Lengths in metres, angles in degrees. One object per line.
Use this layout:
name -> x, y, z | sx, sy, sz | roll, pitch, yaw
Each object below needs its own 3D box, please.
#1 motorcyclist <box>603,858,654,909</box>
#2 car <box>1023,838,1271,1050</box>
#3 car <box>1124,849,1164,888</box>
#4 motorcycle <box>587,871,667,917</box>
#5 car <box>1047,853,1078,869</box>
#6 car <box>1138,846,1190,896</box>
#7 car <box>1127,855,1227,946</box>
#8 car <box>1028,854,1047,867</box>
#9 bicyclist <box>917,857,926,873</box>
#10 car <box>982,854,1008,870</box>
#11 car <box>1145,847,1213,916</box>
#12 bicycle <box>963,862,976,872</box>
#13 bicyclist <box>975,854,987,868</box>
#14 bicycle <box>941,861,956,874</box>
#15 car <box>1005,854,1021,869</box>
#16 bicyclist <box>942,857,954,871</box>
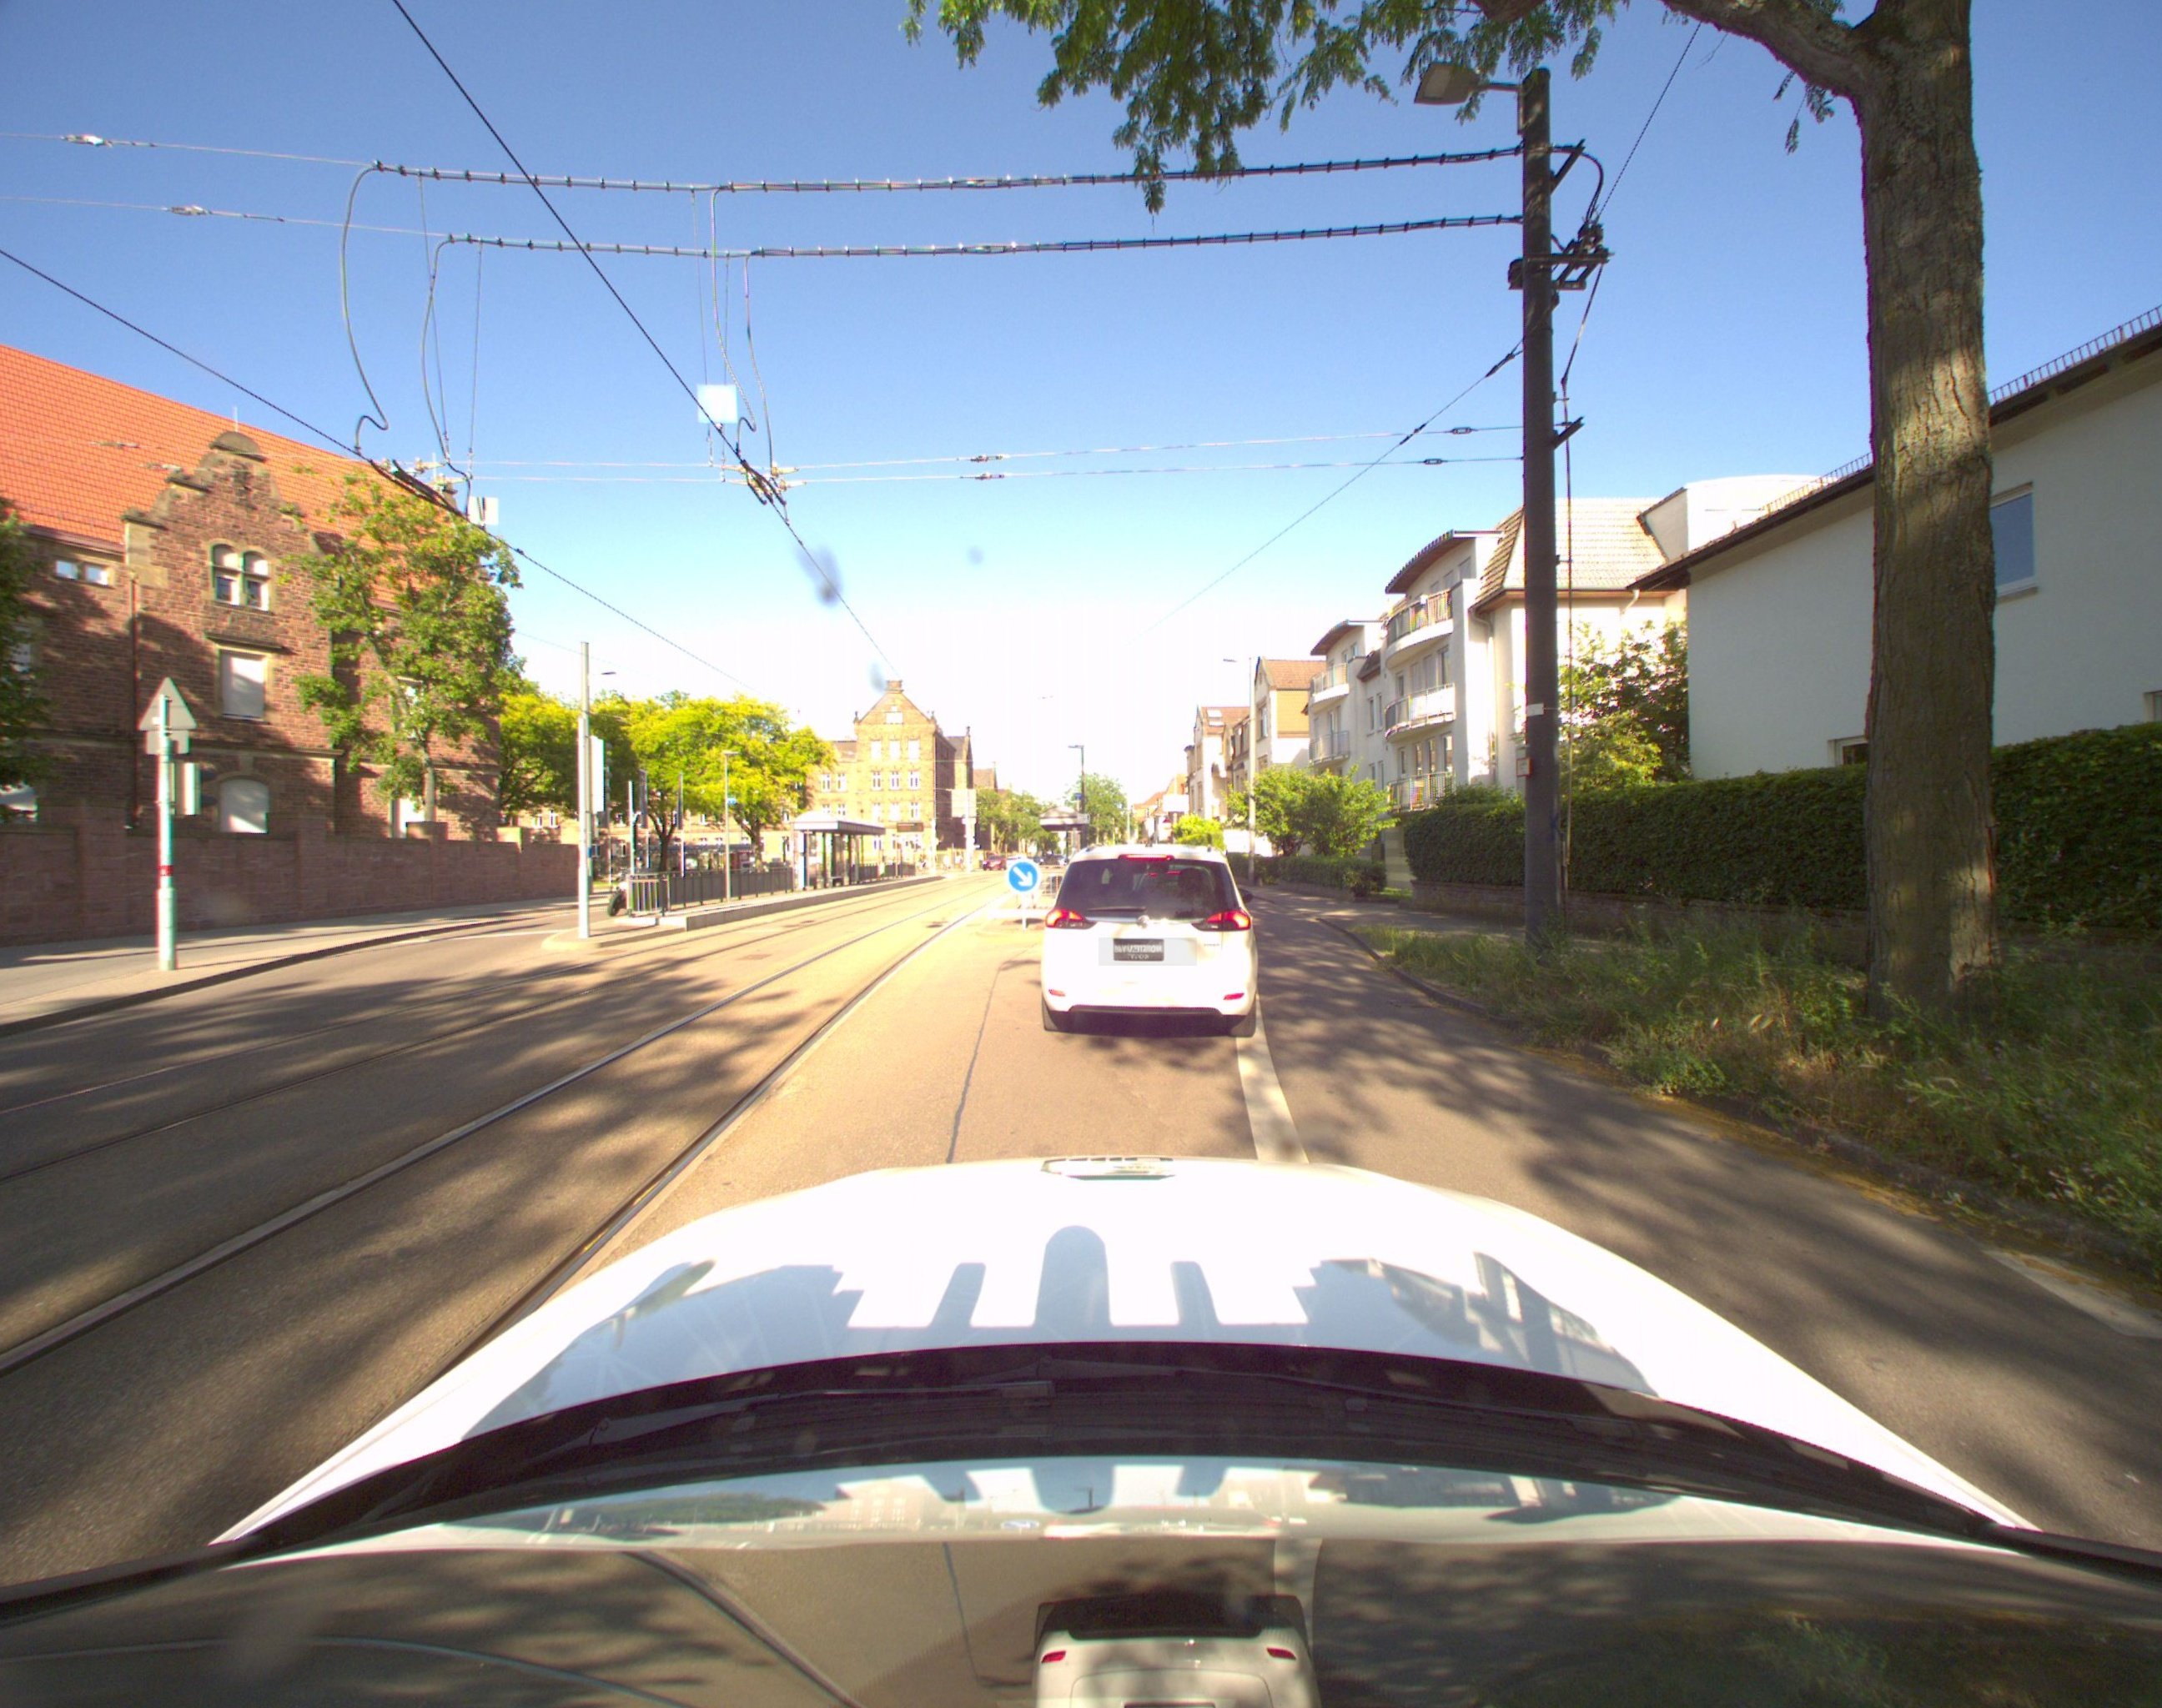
motorcyclist -> -12.558, 0.802, 22.632 | 0.887, 1.383, 0.907 | -1, 0, -2
car -> 0.749, 0.674, 8.194 | 1.868, 1.585, 4.008 | 0, 0, 7
car -> 2.779, 0.624, 36.401 | 1.590, 1.635, 3.903 | 1, 0, 2
motorcycle -> -12.554, 1.084, 22.641 | 0.909, 1.153, 2.427 | -1, 0, -2
car -> -2.031, 0.783, 89.506 | 1.677, 1.629, 3.960 | -1, 0, -31
car -> 2.911, 0.572, 29.234 | 1.590, 1.635, 3.903 | 1, 0, 2
car -> 1.769, 0.737, 14.862 | 1.560, 1.401, 3.792 | 1, 0, 7
car -> -5.668, 0.804, 106.066 | 1.985, 1.596, 4.003 | -1, 0, 3
bicyclist -> -14.870, 1.032, 75.919 | 0.651, 1.459, 1.151 | -1, 0, -3
car -> -8.931, 0.851, 85.092 | 1.809, 1.607, 4.366 | -1, 0, 6
car -> 2.557, 0.639, 21.100 | 1.560, 1.614, 3.792 | 1, 0, 7
bicycle -> -12.441, 1.473, 90.935 | 0.663, 1.072, 2.024 | 0, 0, 18
bicyclist -> -11.105, 0.723, 90.669 | 0.754, 1.536, 1.354 | -1, 0, 17
bicycle -> -13.473, 1.379, 82.971 | 0.810, 1.199, 1.959 | -2, -3, 12
car -> -8.757, 0.924, 105.032 | 1.692, 1.809, 4.000 | -1, 0, 1
bicyclist -> -13.556, 1.027, 82.868 | 0.751, 1.471, 1.195 | -2, -2, 14
